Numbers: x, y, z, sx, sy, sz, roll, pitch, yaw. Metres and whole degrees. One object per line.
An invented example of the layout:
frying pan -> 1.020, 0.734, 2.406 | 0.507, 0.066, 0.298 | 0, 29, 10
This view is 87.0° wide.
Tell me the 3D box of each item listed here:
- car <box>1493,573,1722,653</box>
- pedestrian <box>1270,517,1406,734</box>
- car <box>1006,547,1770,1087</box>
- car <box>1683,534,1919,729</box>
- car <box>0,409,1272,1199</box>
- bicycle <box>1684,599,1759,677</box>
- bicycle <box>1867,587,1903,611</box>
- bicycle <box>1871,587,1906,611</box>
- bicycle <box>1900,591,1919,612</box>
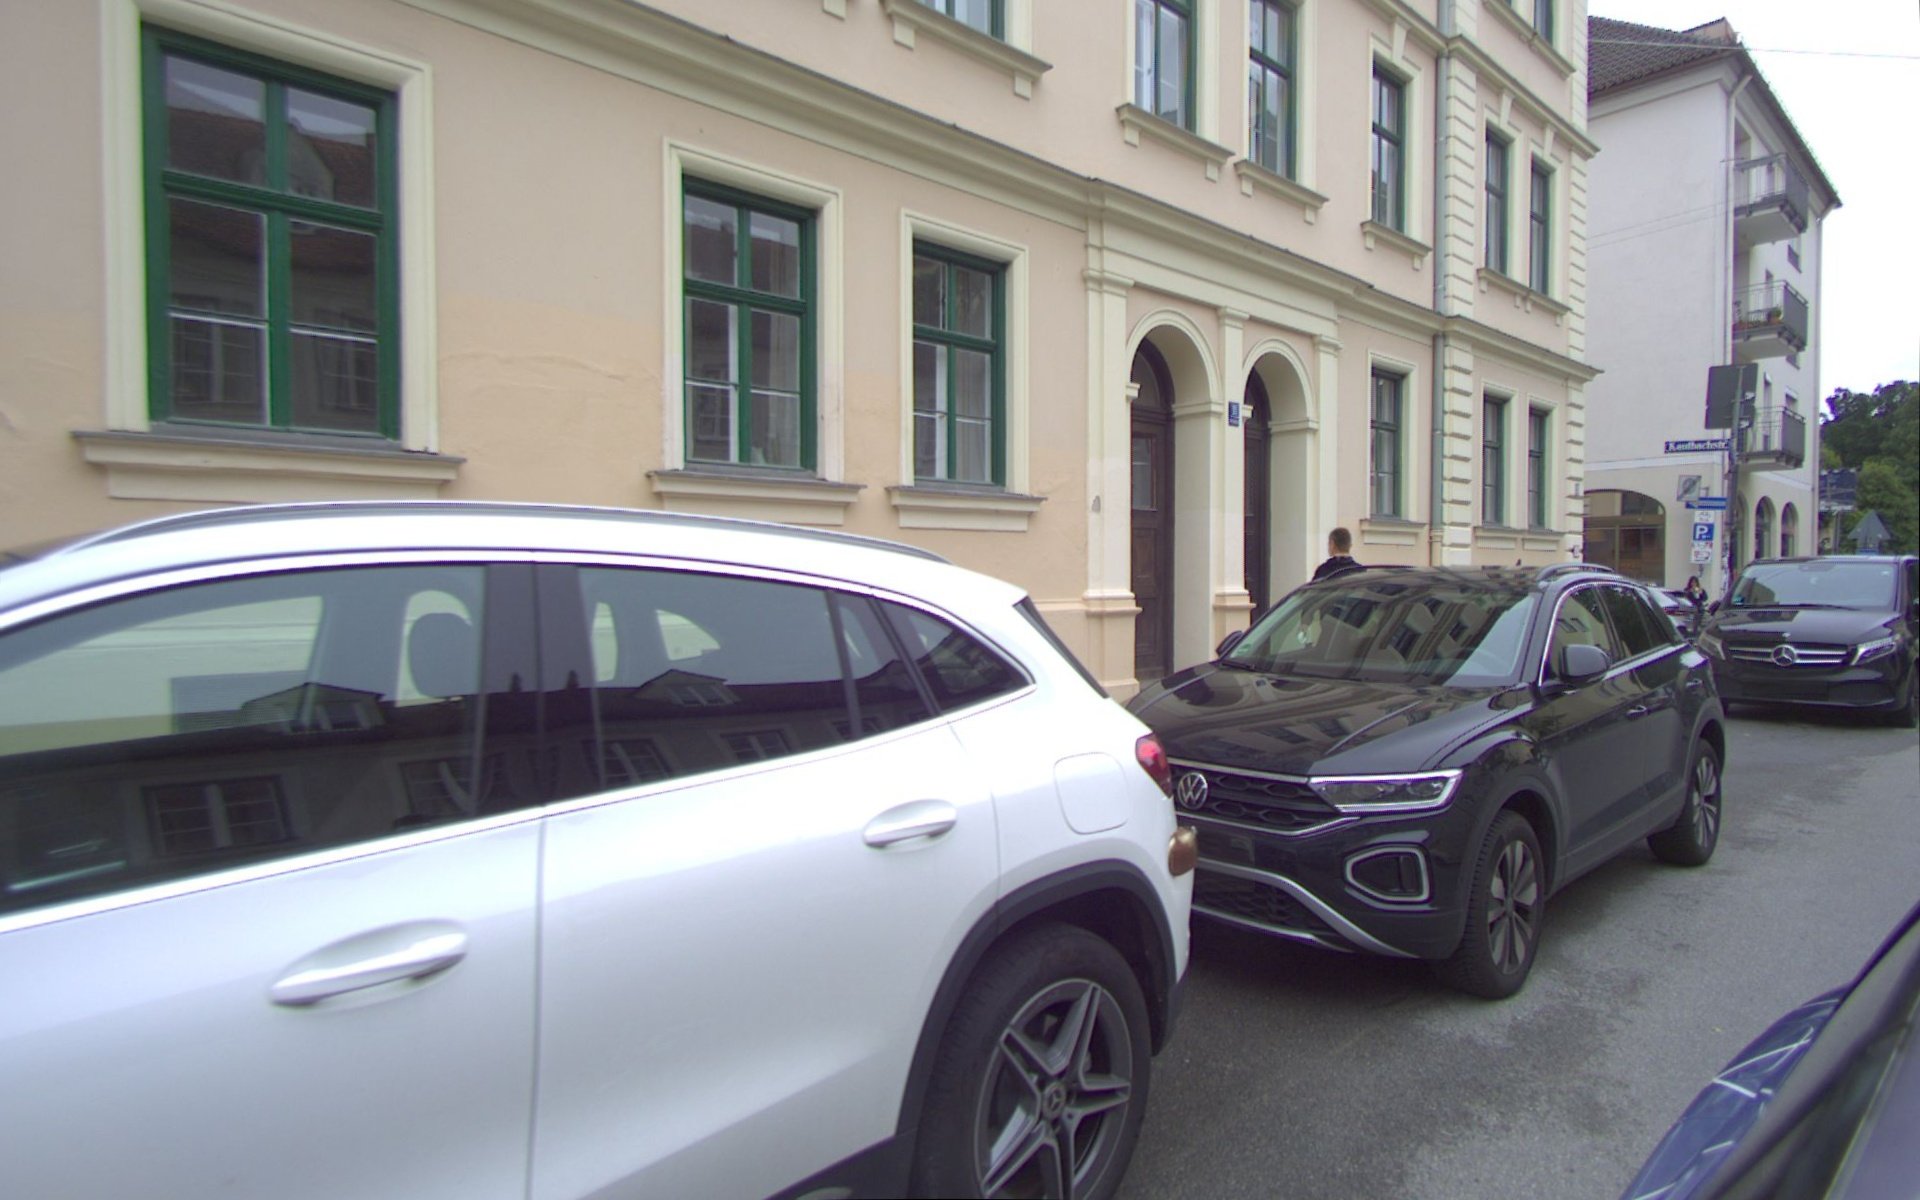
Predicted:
car -> 14.693, 0.240, 23.130 | 1.724, 1.625, 4.095 | 2, 0, -42
pedestrian -> 3.247, 0.178, 8.685 | 0.987, 1.738, 0.720 | -2, 2, -42
car -> 2.345, 0.569, 4.926 | 4.200, 1.540, 1.758 | -1, 1, -41
car -> 10.715, 0.267, 12.207 | 5.159, 1.888, 2.002 | -1, 1, -40
car -> -1.463, 0.601, 1.693 | 4.388, 1.603, 1.746 | -1, 1, -41
bicycle -> 11.197, 0.549, 14.867 | 1.698, 1.065, 0.466 | 2, 1, -40
bicycle -> 49.313, -0.063, 53.945 | 1.623, 1.206, 0.202 | 3, 1, 1
bicycle -> 49.315, -0.065, 53.746 | 1.623, 1.213, 0.169 | 3, 1, 1
bicycle -> 51.153, 0.096, 54.375 | 1.620, 1.051, 0.308 | 2, 1, -26
